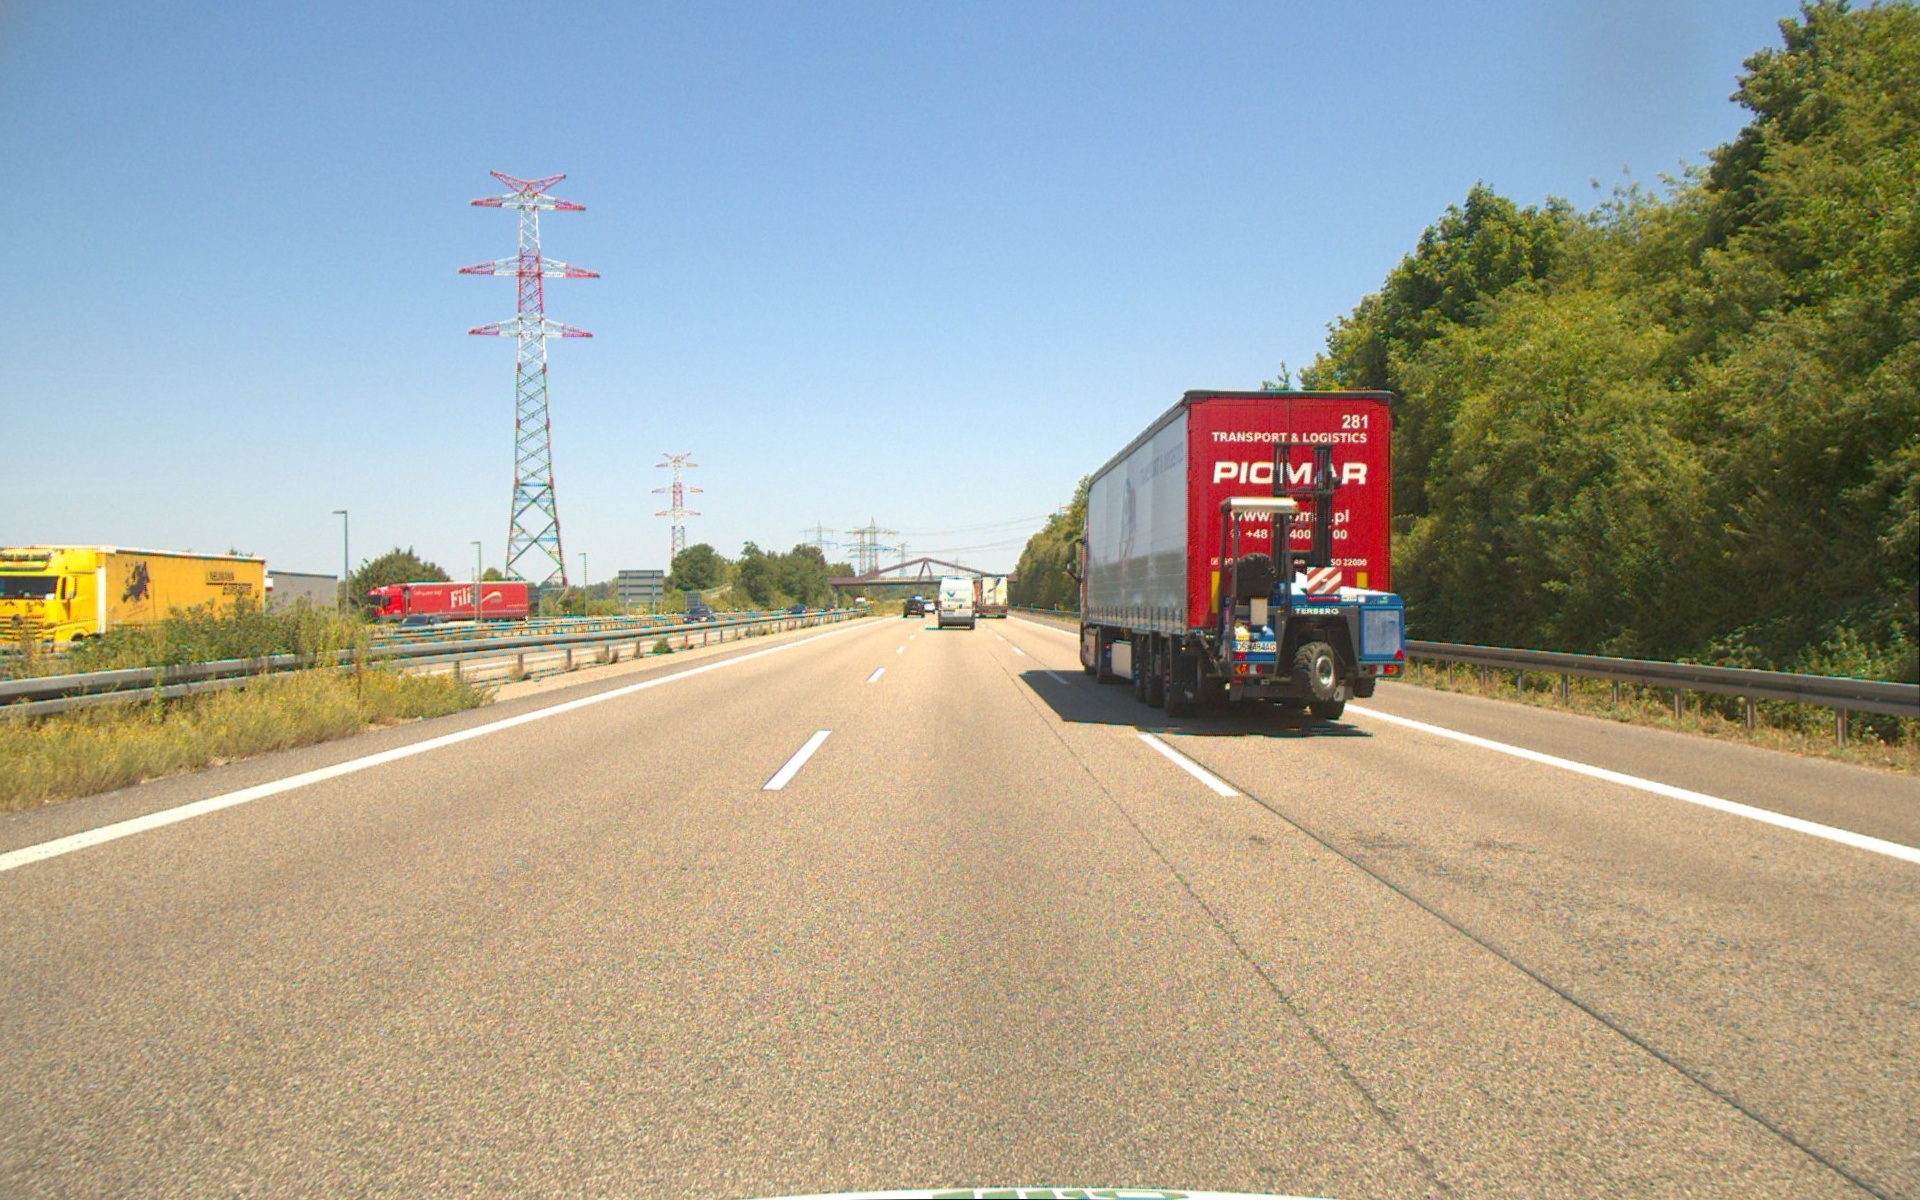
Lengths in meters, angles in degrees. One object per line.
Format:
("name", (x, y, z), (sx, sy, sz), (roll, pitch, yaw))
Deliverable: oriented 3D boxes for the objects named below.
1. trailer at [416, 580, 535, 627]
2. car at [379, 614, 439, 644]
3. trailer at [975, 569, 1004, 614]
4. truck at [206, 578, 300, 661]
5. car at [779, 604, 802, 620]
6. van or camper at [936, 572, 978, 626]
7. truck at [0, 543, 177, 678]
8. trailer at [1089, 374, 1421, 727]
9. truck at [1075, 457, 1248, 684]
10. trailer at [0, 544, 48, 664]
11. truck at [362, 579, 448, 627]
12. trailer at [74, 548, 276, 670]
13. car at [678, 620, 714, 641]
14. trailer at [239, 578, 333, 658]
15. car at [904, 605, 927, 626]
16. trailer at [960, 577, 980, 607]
("trailer", (-44.511, 0.397, 152.413), (3.066, 4.126, 11.280), (1, 0, 33))
("car", (-30.108, 1.584, 90.497), (1.775, 1.515, 4.508), (1, 0, -1))
("trailer", (2.832, -0.792, 160.944), (2.583, 4.131, 12.366), (1, 0, 0))
("truck", (-43.727, 1.161, 102.540), (3.238, 4.935, 7.614), (1, 0, -7))
("car", (-17.506, 1.225, 171.003), (1.932, 1.675, 5.015), (1, 0, -1))
("van or camper", (-0.177, -0.044, 90.563), (2.185, 2.831, 5.422), (1, 0, 0))
("truck", (-30.165, 0.339, 56.822), (2.776, 4.273, 7.916), (1, 0, -1))
("trailer", (3.890, -0.546, 25.792), (2.440, 3.978, 14.243), (0, 0, -1))
("truck", (3.792, -0.511, 32.656), (2.448, 3.988, 7.095), (0, 0, -1))
("trailer", (-35.278, 0.113, 55.771), (2.775, 4.221, 11.083), (1, 0, 0))
("truck", (-48.811, 0.290, 145.618), (3.063, 4.120, 6.625), (1, 0, 33))
("trailer", (-30.407, 0.332, 64.756), (2.776, 4.293, 11.080), (1, 0, -2))
("car", (-17.745, 2.042, 111.479), (1.706, 1.298, 4.317), (-3, 0, 0))
("trailer", (-44.570, 1.140, 109.715), (3.239, 4.960, 9.667), (1, 0, -7))
("car", (-4.166, 1.444, 155.079), (1.941, 1.849, 3.813), (1, 0, 1))
("trailer", (1.410, -1.050, 225.656), (2.583, 3.965, 7.068), (1, 0, 0))
